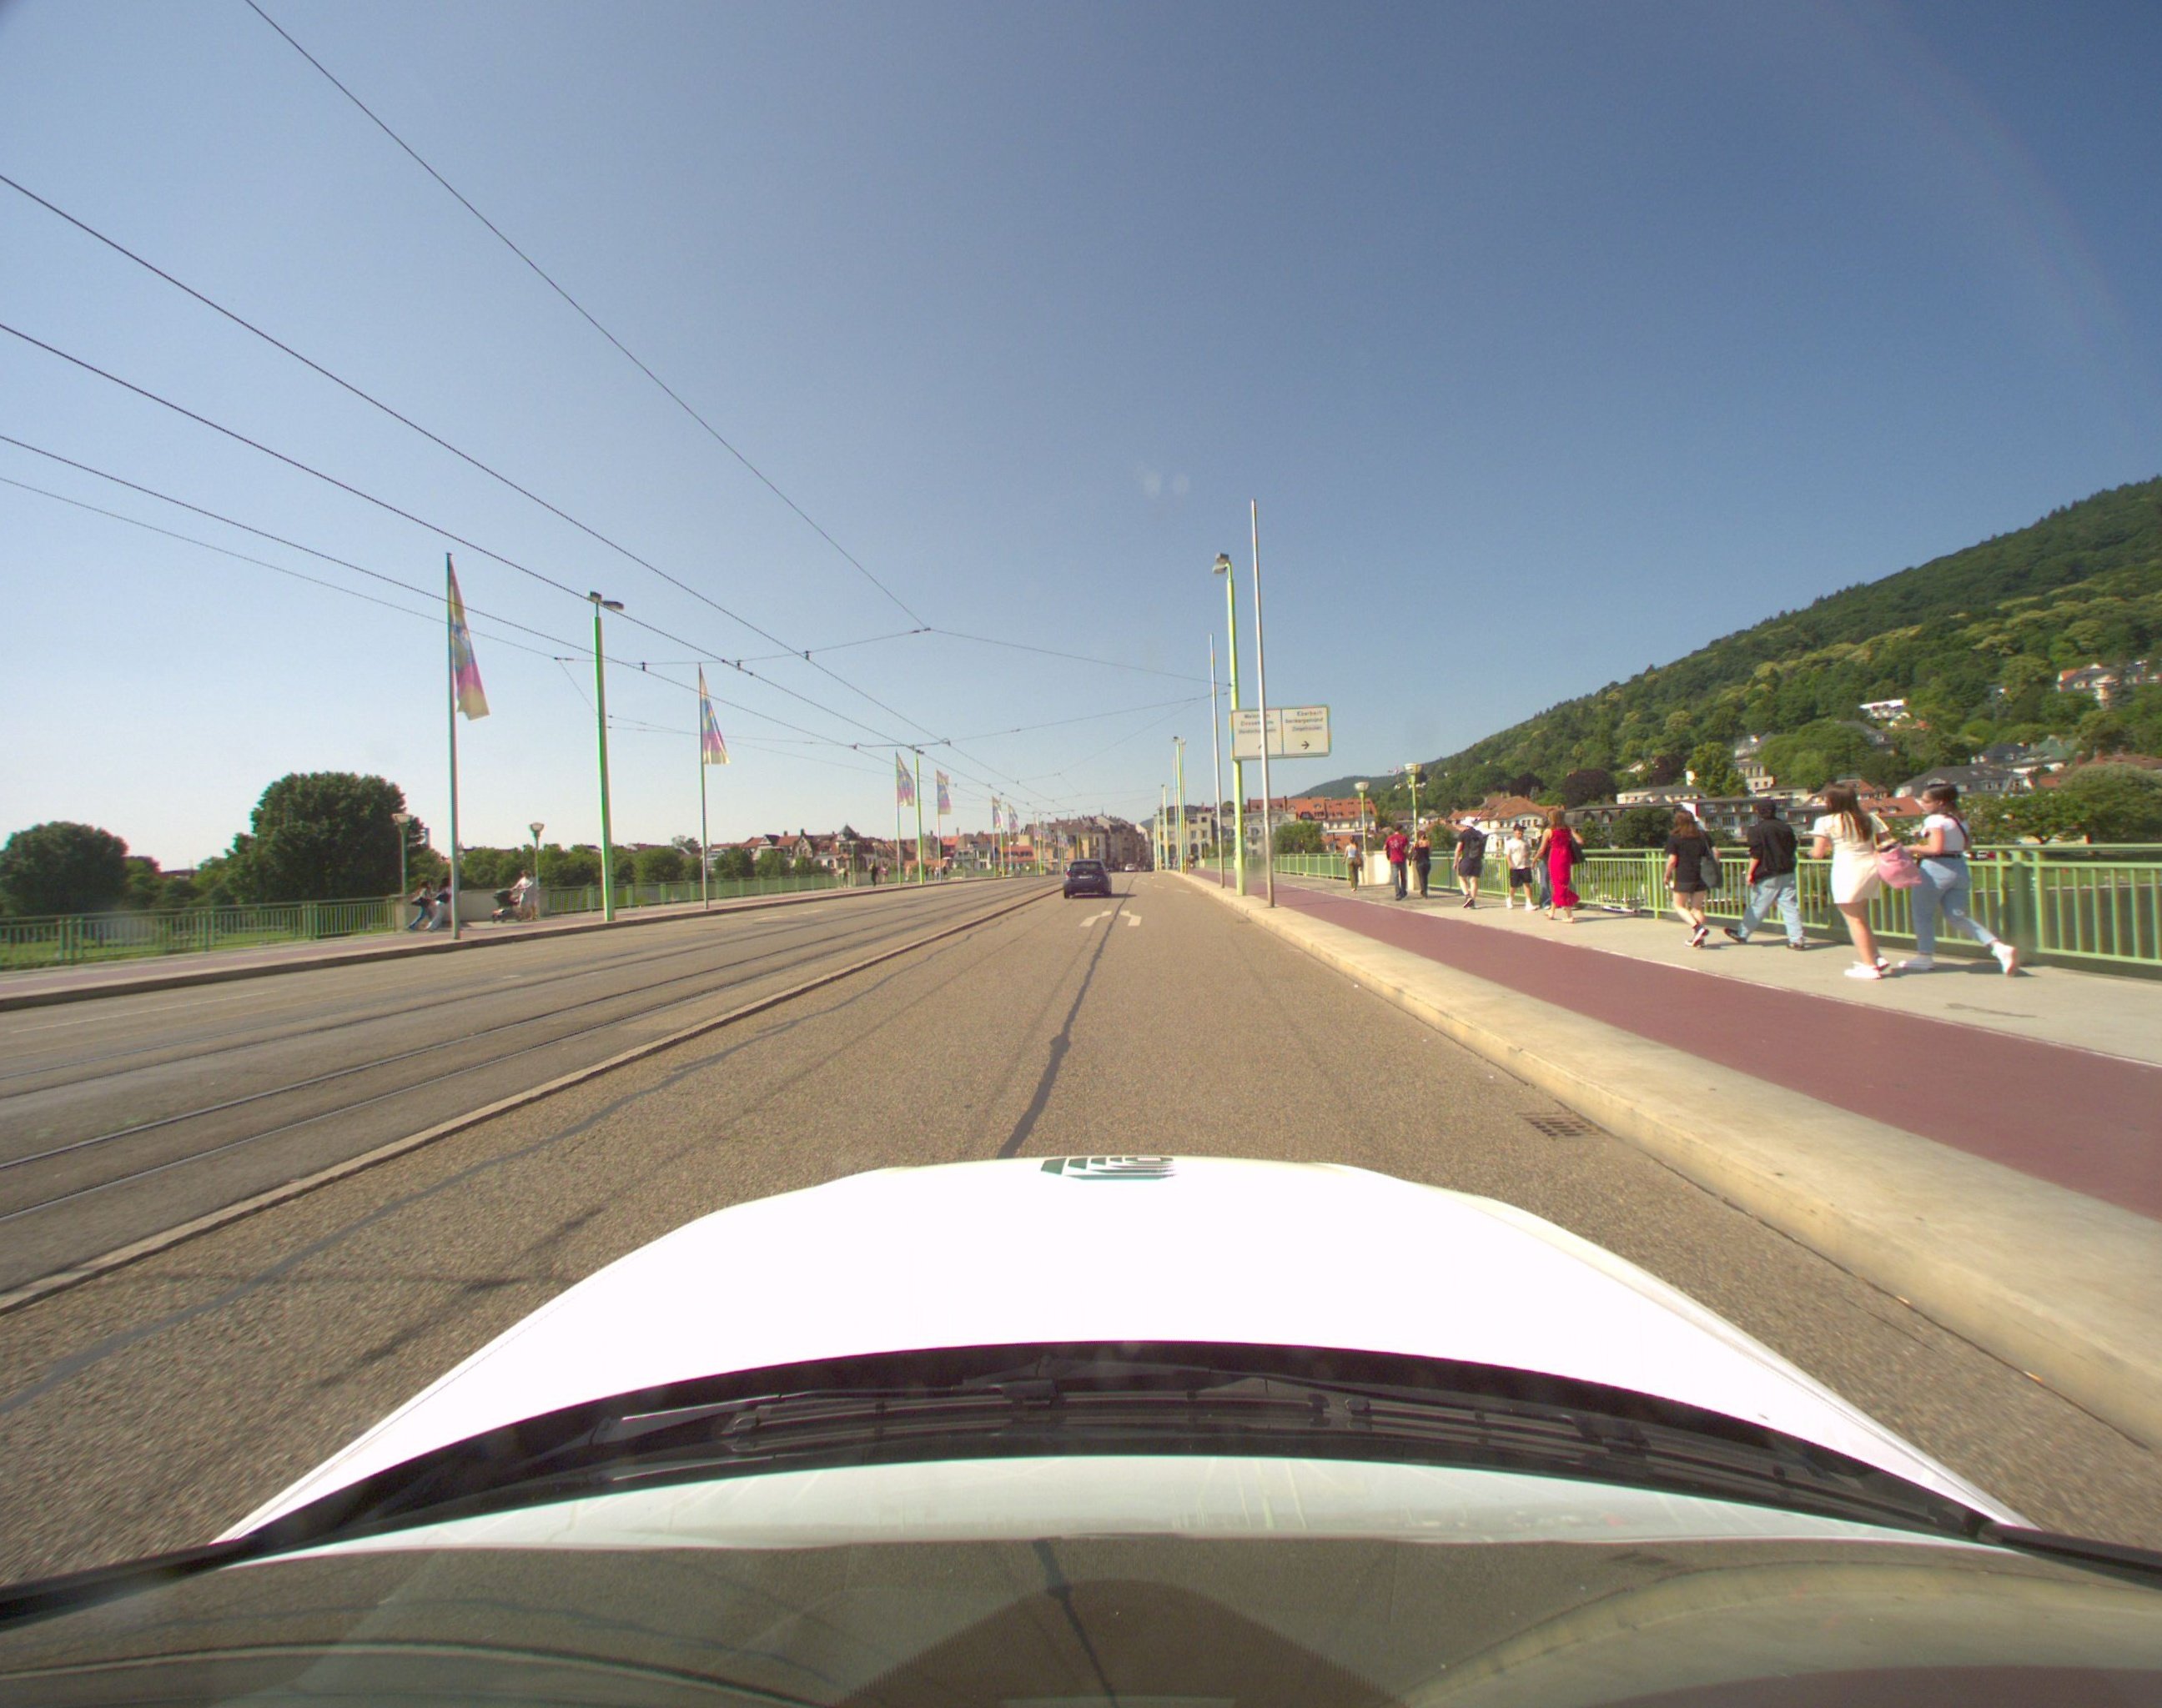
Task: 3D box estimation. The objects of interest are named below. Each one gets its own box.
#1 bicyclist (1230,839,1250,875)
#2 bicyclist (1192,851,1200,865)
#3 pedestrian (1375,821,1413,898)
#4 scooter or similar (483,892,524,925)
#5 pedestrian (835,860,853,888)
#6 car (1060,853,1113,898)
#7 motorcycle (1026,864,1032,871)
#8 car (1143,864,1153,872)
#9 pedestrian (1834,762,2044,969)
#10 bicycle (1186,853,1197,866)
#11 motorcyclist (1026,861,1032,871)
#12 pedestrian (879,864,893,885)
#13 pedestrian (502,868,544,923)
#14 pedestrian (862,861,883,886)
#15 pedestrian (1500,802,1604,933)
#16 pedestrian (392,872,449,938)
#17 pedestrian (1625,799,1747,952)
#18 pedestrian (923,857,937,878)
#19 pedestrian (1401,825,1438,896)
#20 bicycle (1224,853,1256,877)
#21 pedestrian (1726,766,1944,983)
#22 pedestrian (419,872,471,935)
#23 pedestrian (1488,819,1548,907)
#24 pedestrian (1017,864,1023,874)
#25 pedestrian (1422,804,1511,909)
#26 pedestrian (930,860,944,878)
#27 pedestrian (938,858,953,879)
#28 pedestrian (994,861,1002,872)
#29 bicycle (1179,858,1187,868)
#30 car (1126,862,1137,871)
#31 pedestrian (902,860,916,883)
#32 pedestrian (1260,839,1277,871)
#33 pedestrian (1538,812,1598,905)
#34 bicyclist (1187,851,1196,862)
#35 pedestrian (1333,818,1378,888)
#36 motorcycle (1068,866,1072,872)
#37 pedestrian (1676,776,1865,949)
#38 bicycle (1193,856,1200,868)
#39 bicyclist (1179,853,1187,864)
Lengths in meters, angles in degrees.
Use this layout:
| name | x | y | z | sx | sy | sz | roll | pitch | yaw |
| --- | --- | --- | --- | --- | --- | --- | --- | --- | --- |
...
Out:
| name | x | y | z | sx | sy | sz | roll | pitch | yaw |
| --- | --- | --- | --- | --- | --- | --- | --- | --- | --- |
| bicyclist | 7.831 | 0.149 | 40.036 | 0.671 | 1.744 | 1.150 | -3 | -1 | 0 |
| bicyclist | 13.218 | 0.439 | 93.561 | 0.732 | 1.635 | 0.867 | -3 | -1 | 2 |
| pedestrian | 7.510 | 0.139 | 19.565 | 0.583 | 1.793 | 0.632 | -2 | -1 | -1 |
| scooter or similar | -19.266 | 1.811 | 27.191 | 0.736 | 1.029 | 0.833 | 1 | 0 | 1 |
| pedestrian | -17.299 | 1.434 | 59.361 | 0.895 | 2.013 | 1.042 | -2 | 0 | 1 |
| car | 0.276 | 0.802 | 32.250 | 1.903 | 1.540 | 4.002 | -3 | 0 | 2 |
| motorcycle | -8.745 | 2.286 | 137.191 | 0.698 | 1.110 | 2.181 | -3 | -1 | 4 |
| car | 13.329 | 2.709 | 162.371 | 1.794 | 1.469 | 4.007 | -4 | -1 | 6 |
| pedestrian | 7.504 | 0.097 | 7.174 | 0.831 | 1.677 | 0.885 | -2 | -1 | -2 |
| bicycle | 10.565 | 0.548 | 77.751 | 0.693 | 1.193 | 2.078 | -3 | -1 | -1 |
| motorcyclist | -8.769 | 2.016 | 137.209 | 0.797 | 1.549 | 1.070 | -3 | -1 | 3 |
| pedestrian | -16.119 | 1.686 | 67.285 | 0.751 | 1.722 | 1.176 | -2 | -1 | 2 |
| pedestrian | -19.234 | 1.406 | 28.106 | 0.736 | 1.853 | 0.975 | 1 | 0 | 1 |
| pedestrian | -15.667 | 1.467 | 61.226 | 1.093 | 1.758 | 1.295 | -2 | 0 | 1 |
| pedestrian | 7.401 | 0.213 | 12.845 | 1.011 | 1.954 | 0.939 | -3 | -1 | 2 |
| pedestrian | -19.477 | 1.475 | 24.029 | 0.736 | 1.849 | 1.121 | -1 | 0 | 2 |
| pedestrian | 6.897 | 0.237 | 9.328 | 0.652 | 1.650 | 0.867 | -2 | -1 | -2 |
| pedestrian | -15.308 | 1.373 | 82.729 | 1.093 | 2.013 | 1.129 | -2 | 0 | 1 |
| pedestrian | 8.083 | 0.161 | 19.471 | 0.521 | 1.649 | 0.699 | -2 | -1 | -2 |
| bicycle | 7.850 | 0.511 | 40.302 | 0.790 | 1.096 | 3.744 | -3 | 0 | 0 |
| pedestrian | 6.584 | 0.171 | 7.179 | 0.982 | 1.750 | 0.929 | -2 | -1 | -2 |
| pedestrian | -18.737 | 1.442 | 24.000 | 0.736 | 1.784 | 0.958 | 1 | 0 | 1 |
| pedestrian | 8.099 | 0.161 | 15.121 | 0.648 | 1.562 | 0.691 | -4 | 0 | -1 |
| pedestrian | -10.701 | 2.692 | 142.739 | 0.826 | 1.722 | 1.095 | 0 | 0 | 4 |
| pedestrian | 7.479 | 0.052 | 15.885 | 0.982 | 1.895 | 1.253 | -4 | -1 | -2 |
| pedestrian | -14.555 | 1.511 | 82.291 | 1.091 | 1.729 | 1.298 | 0 | 0 | 7 |
| pedestrian | -13.755 | 1.489 | 82.703 | 1.093 | 2.013 | 1.295 | -2 | 0 | 1 |
| pedestrian | -12.779 | 1.991 | 125.336 | 0.894 | 1.658 | 1.030 | -2 | -1 | 6 |
| bicycle | 10.750 | 0.925 | 85.666 | 0.616 | 1.037 | 2.052 | -3 | -1 | 2 |
| car | 9.366 | 2.393 | 152.260 | 1.797 | 1.469 | 4.001 | -4 | -1 | 1 |
| pedestrian | -15.053 | 1.512 | 71.323 | 0.966 | 2.013 | 1.101 | -2 | 0 | -1 |
| pedestrian | 10.606 | 0.052 | 46.145 | 0.653 | 1.743 | 0.978 | -2 | 1 | -1 |
| pedestrian | 8.785 | 0.083 | 14.714 | 0.646 | 1.631 | 0.693 | -2 | 0 | 5 |
| bicyclist | 10.541 | 0.252 | 77.887 | 0.664 | 1.045 | 0.980 | -1 | 0 | -1 |
| pedestrian | 8.187 | -0.031 | 24.357 | 0.871 | 2.014 | 1.058 | -2 | -1 | -2 |
| motorcycle | -2.269 | 3.197 | 172.300 | 0.698 | 1.110 | 2.181 | -3 | -1 | 4 |
| pedestrian | 7.732 | 0.090 | 9.220 | 0.981 | 1.769 | 1.255 | -4 | 0 | 2 |
| bicycle | 13.236 | 0.911 | 93.352 | 0.616 | 1.271 | 2.217 | -3 | -1 | 2 |
| bicyclist | 10.728 | 0.482 | 85.638 | 0.732 | 1.030 | 1.176 | -3 | -1 | 2 |
